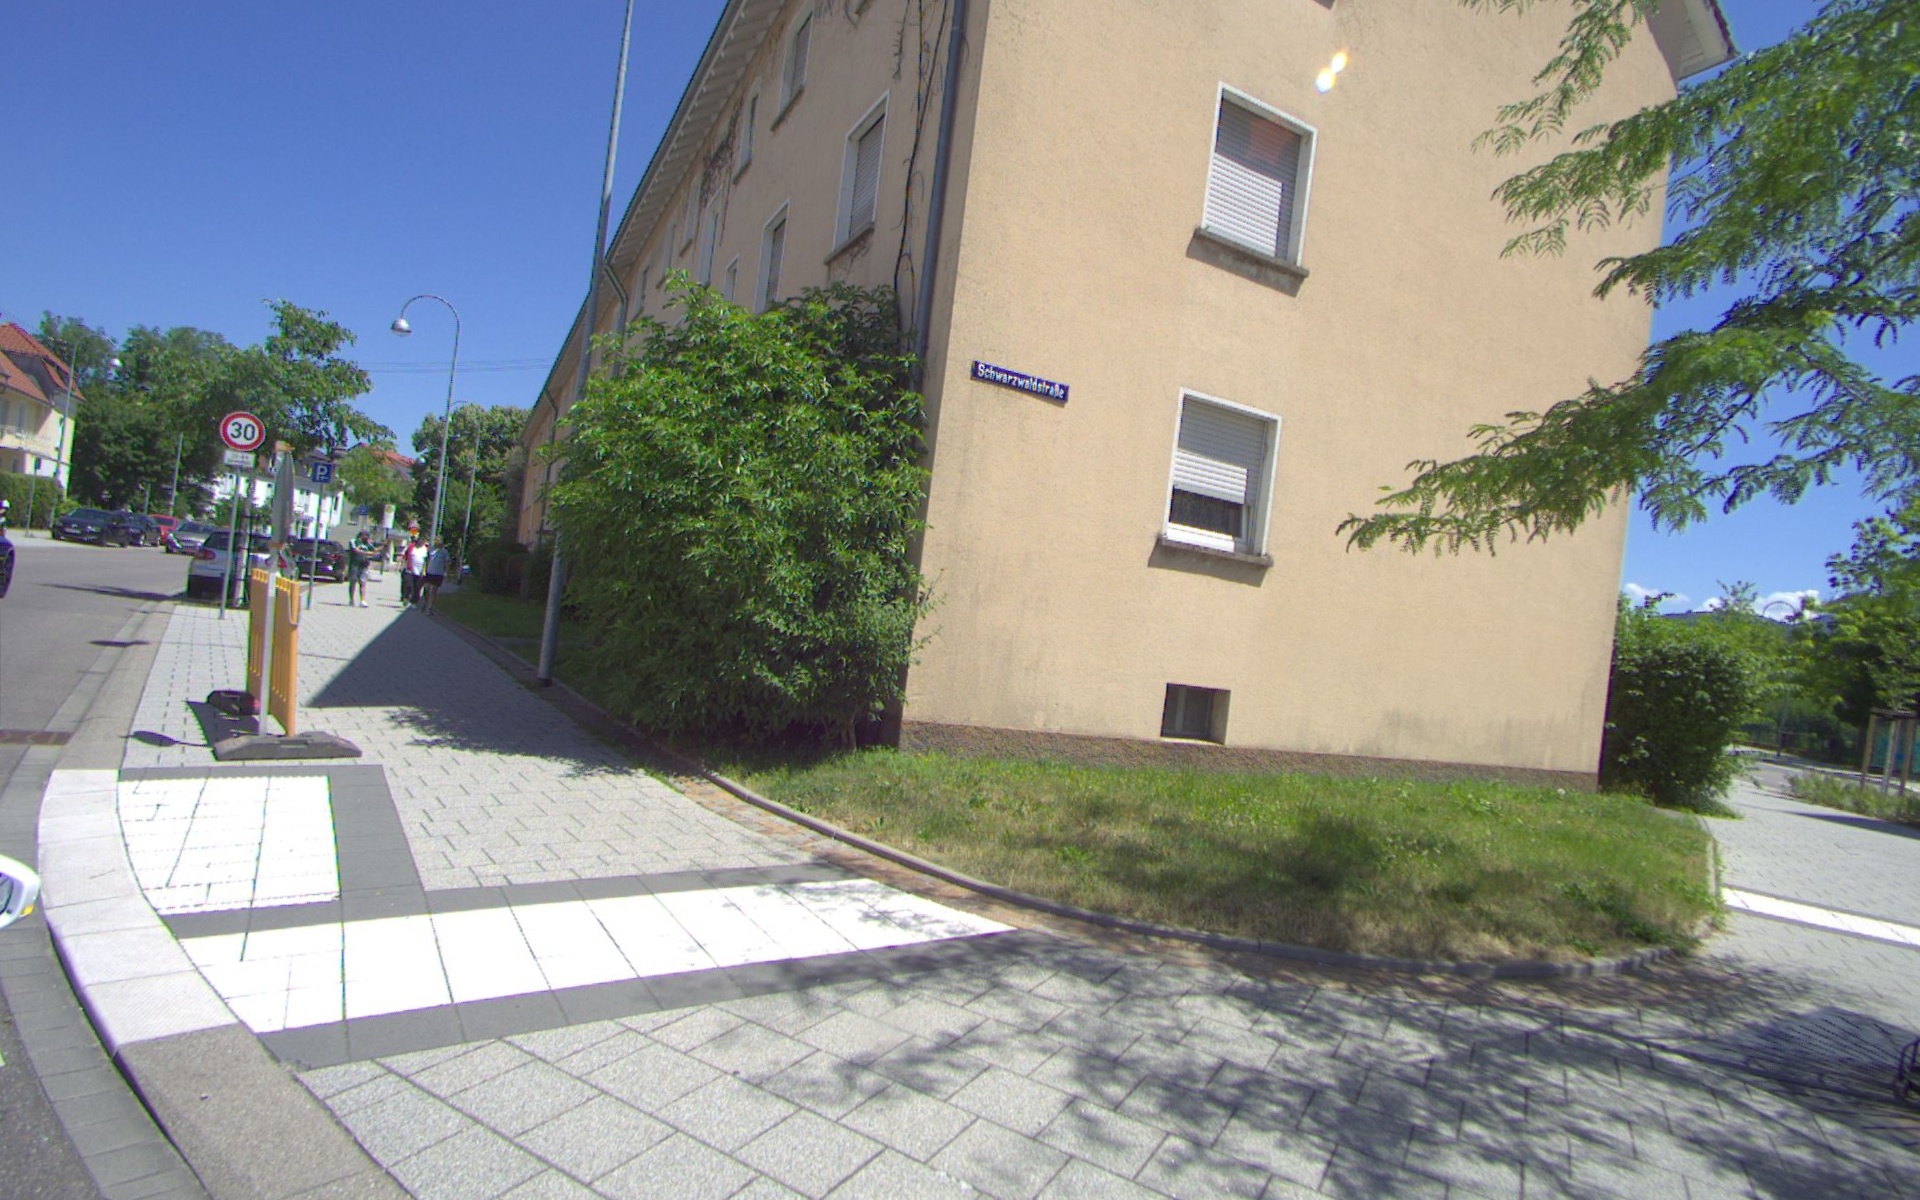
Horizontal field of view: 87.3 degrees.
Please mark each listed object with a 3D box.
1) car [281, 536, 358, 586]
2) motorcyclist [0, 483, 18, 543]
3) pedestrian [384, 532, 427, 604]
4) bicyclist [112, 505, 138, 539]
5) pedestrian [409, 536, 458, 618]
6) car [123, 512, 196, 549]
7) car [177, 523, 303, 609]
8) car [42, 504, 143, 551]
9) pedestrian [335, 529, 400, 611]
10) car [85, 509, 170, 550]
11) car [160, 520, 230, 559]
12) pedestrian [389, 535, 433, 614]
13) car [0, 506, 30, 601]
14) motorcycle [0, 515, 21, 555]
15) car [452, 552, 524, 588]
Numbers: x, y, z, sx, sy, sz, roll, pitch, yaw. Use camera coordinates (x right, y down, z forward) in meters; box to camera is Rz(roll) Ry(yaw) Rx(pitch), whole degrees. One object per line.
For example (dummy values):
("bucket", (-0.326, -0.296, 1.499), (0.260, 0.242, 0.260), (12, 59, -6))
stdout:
("car", (-23.177, -1.422, 36.566), (1.817, 1.523, 5.028), (6, 0, -28))
("motorcyclist", (-25.092, -2.286, 26.071), (0.596, 1.543, 0.890), (7, -1, -26))
("pedestrian", (-15.377, -0.877, 27.888), (0.814, 1.876, 0.976), (7, -1, -31))
("bicyclist", (-45.480, -4.240, 54.794), (0.776, 1.679, 0.829), (7, 0, -29))
("pedestrian", (-12.242, -0.539, 23.386), (0.788, 1.800, 1.000), (7, 0, -31))
("car", (-41.321, -3.545, 52.042), (1.864, 1.495, 4.705), (11, -3, -27))
("car", (-15.591, -0.733, 21.996), (1.800, 1.494, 4.471), (7, -1, -31))
("car", (-35.585, -2.931, 41.387), (1.772, 1.475, 4.174), (11, -2, -23))
("pedestrian", (-13.670, -0.680, 23.207), (1.162, 1.755, 1.181), (4, 0, -33))
("car", (-38.629, -3.254, 46.823), (1.850, 1.478, 5.269), (10, -2, -28))
("car", (-34.194, -2.686, 45.051), (1.716, 1.429, 3.972), (6, 0, -27))
("pedestrian", (-13.485, -0.618, 24.690), (0.781, 1.834, 0.998), (5, 1, -31))
("car", (-13.811, -0.747, 12.976), (1.861, 1.357, 4.555), (10, -3, -34))
("motorcycle", (-25.141, -1.718, 26.049), (0.600, 1.012, 1.789), (7, -1, -25))
("car", (-34.214, -2.173, 72.964), (4.317, 1.859, 1.733), (10, -3, -36))
